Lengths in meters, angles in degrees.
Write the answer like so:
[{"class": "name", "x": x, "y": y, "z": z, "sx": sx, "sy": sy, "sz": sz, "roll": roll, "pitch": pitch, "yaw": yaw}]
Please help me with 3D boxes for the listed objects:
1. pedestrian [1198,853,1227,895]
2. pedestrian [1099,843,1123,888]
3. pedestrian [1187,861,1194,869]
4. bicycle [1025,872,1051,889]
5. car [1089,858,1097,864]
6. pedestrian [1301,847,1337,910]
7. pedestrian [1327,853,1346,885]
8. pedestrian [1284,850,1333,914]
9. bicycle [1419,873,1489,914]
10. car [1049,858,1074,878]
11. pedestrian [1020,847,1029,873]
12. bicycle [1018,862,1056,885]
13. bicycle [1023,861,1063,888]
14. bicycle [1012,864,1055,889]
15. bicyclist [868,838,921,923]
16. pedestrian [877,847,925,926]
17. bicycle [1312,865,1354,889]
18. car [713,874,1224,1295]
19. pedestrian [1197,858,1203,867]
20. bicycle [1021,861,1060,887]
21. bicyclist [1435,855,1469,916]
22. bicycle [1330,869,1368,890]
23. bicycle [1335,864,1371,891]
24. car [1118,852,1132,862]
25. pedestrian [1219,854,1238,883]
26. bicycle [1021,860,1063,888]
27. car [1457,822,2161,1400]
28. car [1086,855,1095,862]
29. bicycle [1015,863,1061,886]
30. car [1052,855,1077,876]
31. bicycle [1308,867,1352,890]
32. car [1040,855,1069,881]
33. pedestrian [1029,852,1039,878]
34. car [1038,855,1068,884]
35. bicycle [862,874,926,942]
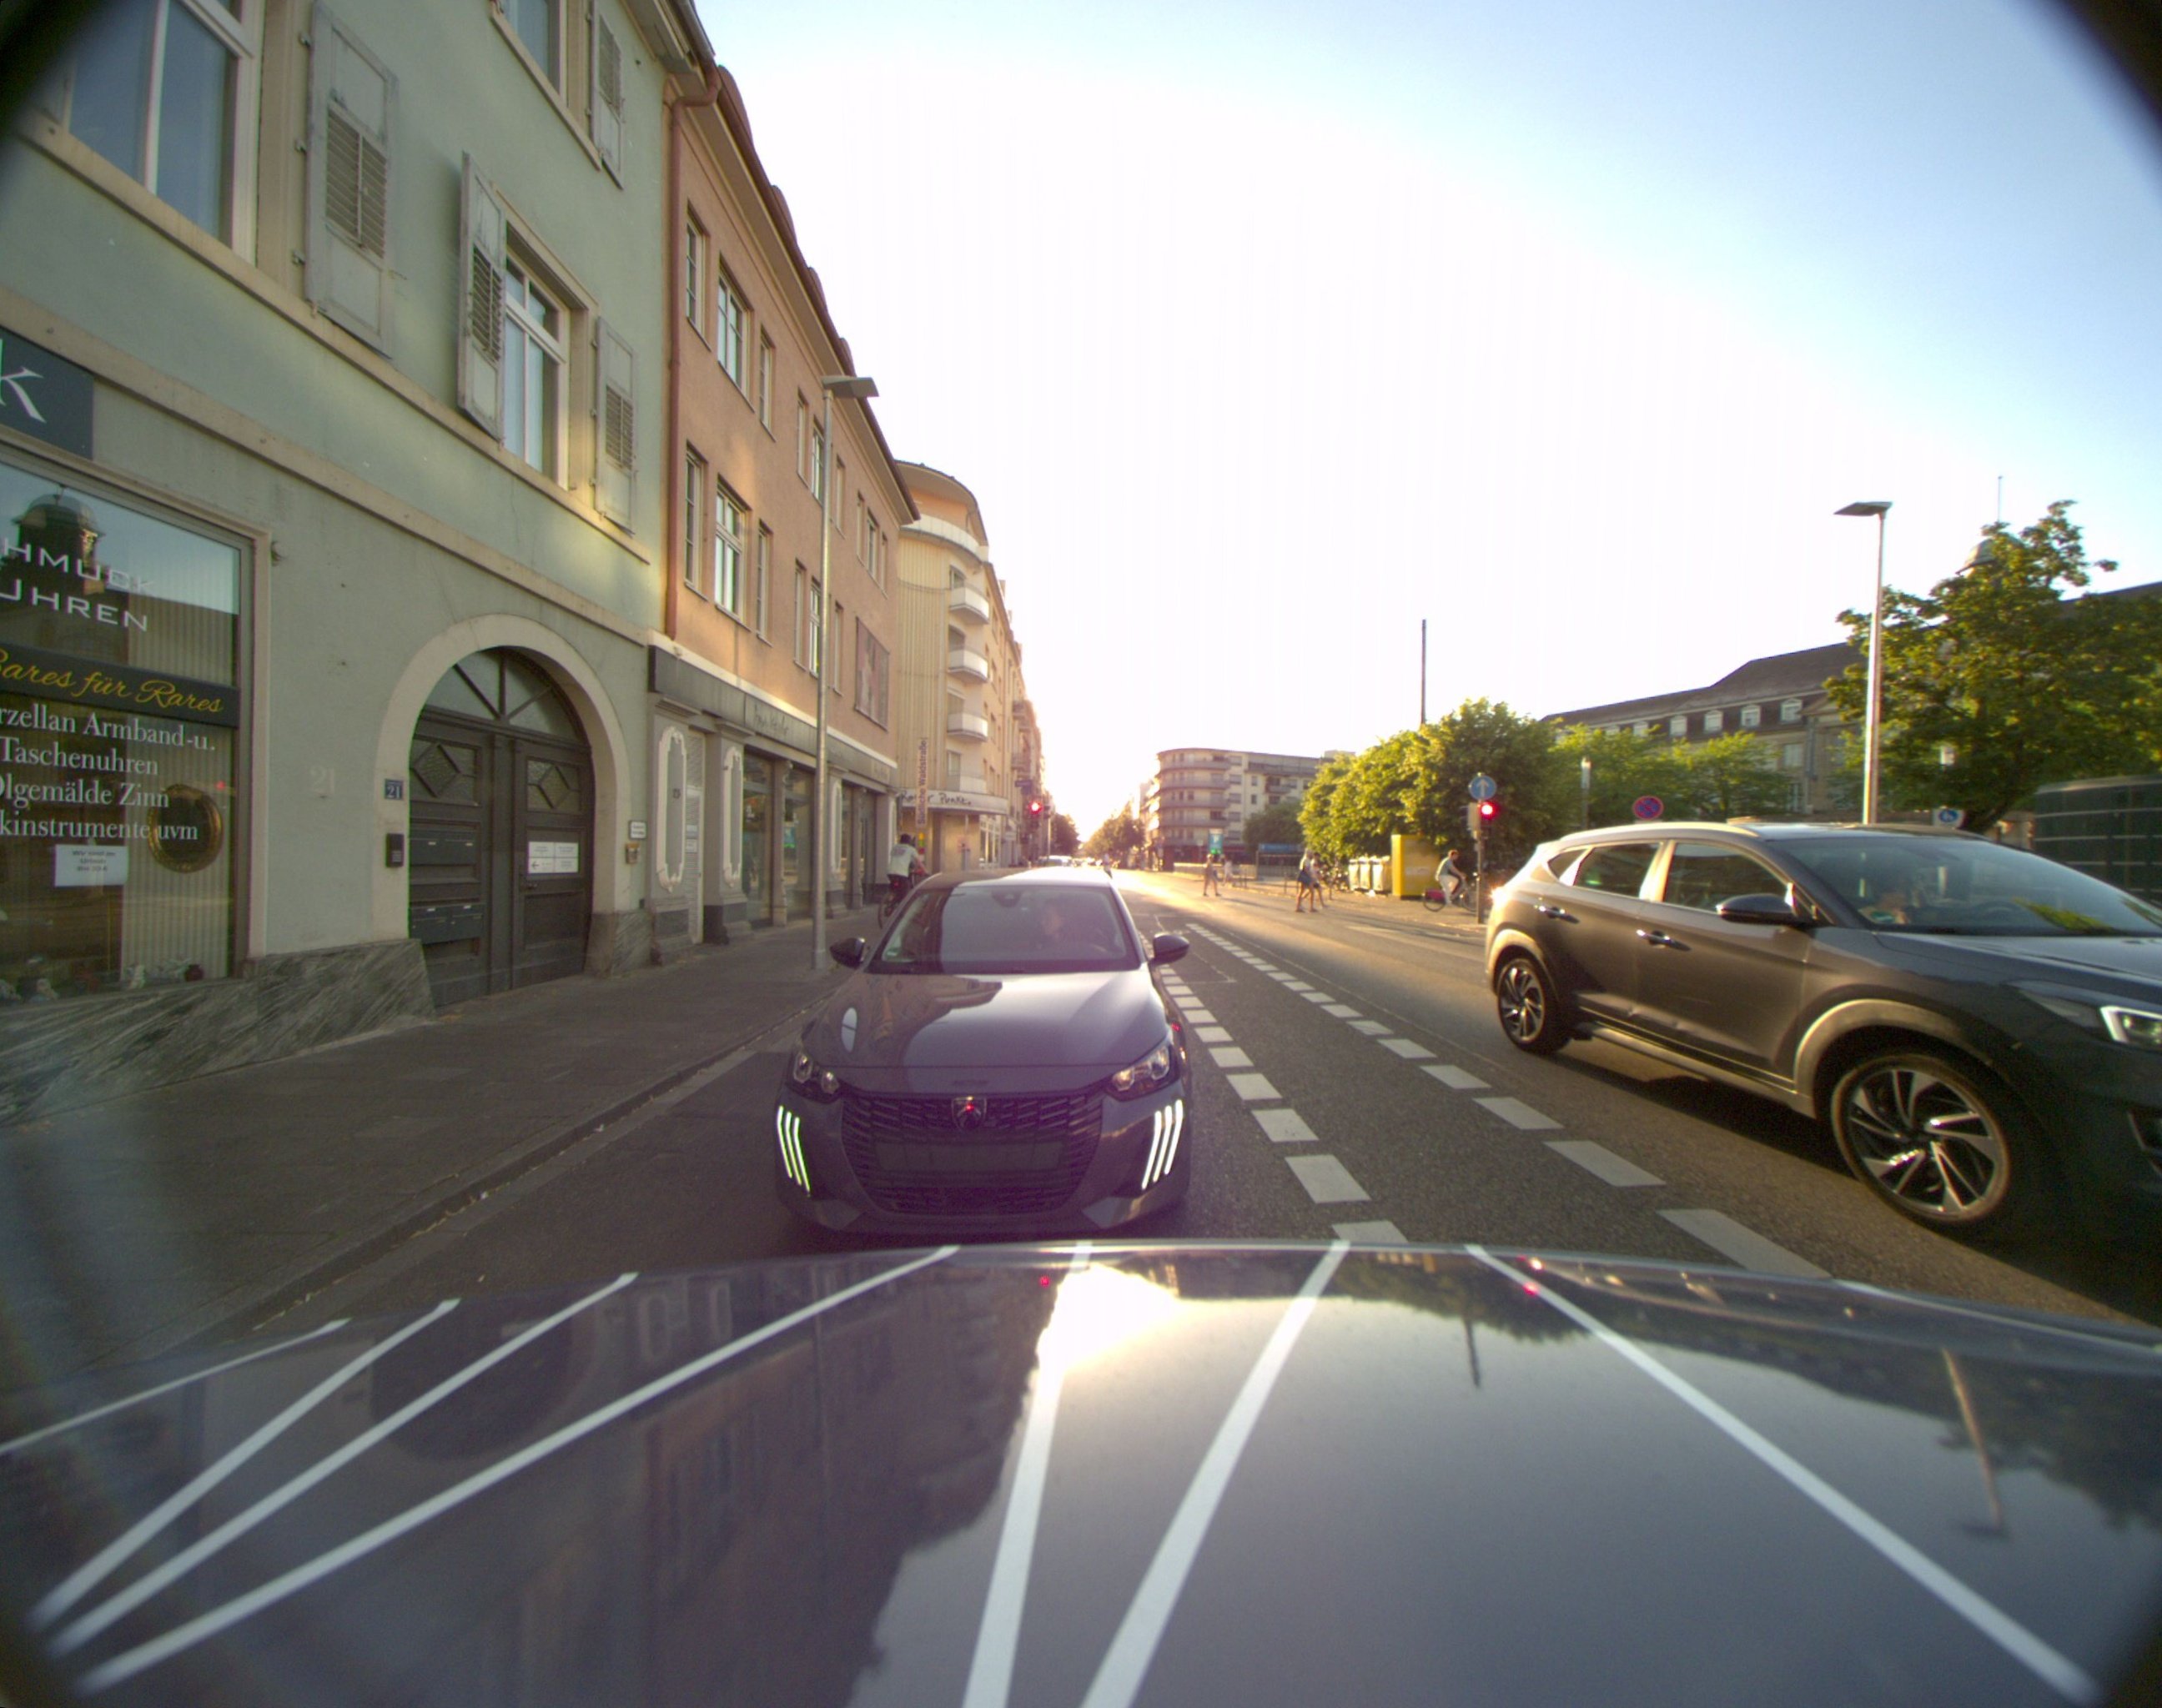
[{"class": "pedestrian", "x": 5.167, "y": 0.772, "z": 29.813, "sx": 0.789, "sy": 1.643, "sz": 0.782, "roll": 1, "pitch": 1, "yaw": 43}, {"class": "pedestrian", "x": 1.219, "y": 0.448, "z": 31.118, "sx": 0.871, "sy": 1.806, "sz": 0.826, "roll": 1, "pitch": 0, "yaw": -3}, {"class": "pedestrian", "x": 15.817, "y": 1.556, "z": 109.827, "sx": 0.887, "sy": 1.185, "sz": 0.733, "roll": 0, "pitch": 0, "yaw": 9}, {"class": "bicycle", "x": -1.887, "y": 1.164, "z": 33.361, "sx": 1.008, "sy": 0.677, "sz": 1.049, "roll": 1, "pitch": 0, "yaw": -9}, {"class": "car", "x": 2.907, "y": 1.743, "z": 184.535, "sx": 1.790, "sy": 1.458, "sz": 3.956, "roll": 2, "pitch": 0, "yaw": -1}, {"class": "pedestrian", "x": 7.413, "y": 0.747, "z": 23.672, "sx": 0.939, "sy": 1.886, "sz": 0.826, "roll": 1, "pitch": 0, "yaw": 9}, {"class": "pedestrian", "x": 14.633, "y": 0.871, "z": 43.529, "sx": 0.870, "sy": 1.806, "sz": 0.826, "roll": 1, "pitch": 0, "yaw": 9}, {"class": "pedestrian", "x": 6.388, "y": 0.768, "z": 21.349, "sx": 1.100, "sy": 1.764, "sz": 0.826, "roll": 1, "pitch": 0, "yaw": -1}, {"class": "bicycle", "x": 11.415, "y": 1.188, "z": 23.274, "sx": 1.820, "sy": 1.179, "sz": 0.795, "roll": 1, "pitch": 0, "yaw": 33}, {"class": "car", "x": -1.412, "y": 1.011, "z": 56.639, "sx": 1.738, "sy": 1.448, "sz": 4.610, "roll": 0, "pitch": 0, "yaw": 1}, {"class": "pedestrian", "x": -4.442, "y": 0.477, "z": 59.687, "sx": 0.673, "sy": 2.002, "sz": 0.851, "roll": 0, "pitch": 1, "yaw": 0}, {"class": "bicycle", "x": -2.220, "y": 0.994, "z": 38.439, "sx": 1.851, "sy": 1.117, "sz": 0.594, "roll": 2, "pitch": 1, "yaw": -11}, {"class": "bicycle", "x": -1.812, "y": 0.969, "z": 35.856, "sx": 1.788, "sy": 1.166, "sz": 0.622, "roll": 2, "pitch": 0, "yaw": -11}, {"class": "bicycle", "x": -2.141, "y": 0.999, "z": 34.171, "sx": 1.788, "sy": 1.057, "sz": 0.718, "roll": 2, "pitch": 0, "yaw": -11}, {"class": "bicyclist", "x": -3.379, "y": 0.465, "z": 13.845, "sx": 0.724, "sy": 1.499, "sz": 0.900, "roll": 1, "pitch": 0, "yaw": 1}, {"class": "pedestrian", "x": -3.806, "y": 0.669, "z": 16.151, "sx": 0.825, "sy": 1.632, "sz": 0.871, "roll": 1, "pitch": 0, "yaw": -2}, {"class": "bicycle", "x": 13.151, "y": 1.189, "z": 39.701, "sx": 2.031, "sy": 1.245, "sz": 0.548, "roll": -1, "pitch": 0, "yaw": -4}, {"class": "car", "x": -0.470, "y": 0.919, "z": 5.085, "sx": 1.908, "sy": 1.438, "sz": 4.448, "roll": 0, "pitch": 0, "yaw": -2}, {"class": "pedestrian", "x": 17.430, "y": 1.220, "z": 111.385, "sx": 0.732, "sy": 1.314, "sz": 0.889, "roll": 0, "pitch": 0, "yaw": -1}, {"class": "bicycle", "x": -1.947, "y": 0.957, "z": 36.488, "sx": 1.788, "sy": 1.166, "sz": 0.622, "roll": 2, "pitch": 0, "yaw": -11}, {"class": "bicyclist", "x": 11.374, "y": 0.948, "z": 23.289, "sx": 0.833, "sy": 1.815, "sz": 0.832, "roll": 1, "pitch": 0, "yaw": 34}, {"class": "bicycle", "x": 13.109, "y": 1.234, "z": 37.236, "sx": 1.678, "sy": 0.973, "sz": 0.548, "roll": -1, "pitch": 0, "yaw": -4}, {"class": "bicycle", "x": 13.194, "y": 1.129, "z": 36.845, "sx": 1.590, "sy": 1.245, "sz": 0.445, "roll": -1, "pitch": 0, "yaw": -2}, {"class": "car", "x": 7.820, "y": 0.548, "z": 135.626, "sx": 1.999, "sy": 1.805, "sz": 3.999, "roll": 1, "pitch": 1, "yaw": -2}, {"class": "pedestrian", "x": 9.095, "y": 0.889, "z": 46.889, "sx": 0.950, "sy": 1.806, "sz": 0.827, "roll": 1, "pitch": 0, "yaw": 25}, {"class": "bicycle", "x": -1.810, "y": 0.921, "z": 35.108, "sx": 1.849, "sy": 1.232, "sz": 0.639, "roll": 1, "pitch": 0, "yaw": -5}, {"class": "car", "x": 4.092, "y": 0.783, "z": 4.094, "sx": 1.877, "sy": 1.679, "sz": 4.449, "roll": 2, "pitch": 0, "yaw": 0}, {"class": "car", "x": 2.495, "y": 1.144, "z": 199.701, "sx": 1.878, "sy": 1.621, "sz": 4.177, "roll": 3, "pitch": -1, "yaw": -5}, {"class": "bicycle", "x": -2.127, "y": 1.005, "z": 37.440, "sx": 2.176, "sy": 1.069, "sz": 0.805, "roll": 2, "pitch": 0, "yaw": -7}, {"class": "car", "x": -1.304, "y": 0.909, "z": 62.225, "sx": 1.877, "sy": 1.664, "sz": 4.430, "roll": 0, "pitch": 0, "yaw": 0}, {"class": "bicycle", "x": 12.460, "y": 1.210, "z": 38.020, "sx": 2.031, "sy": 1.128, "sz": 0.548, "roll": -1, "pitch": 0, "yaw": -4}, {"class": "car", "x": -1.742, "y": 0.918, "z": 51.051, "sx": 1.821, "sy": 1.611, "sz": 4.203, "roll": 0, "pitch": 0, "yaw": 0}, {"class": "pedestrian", "x": -3.694, "y": 0.838, "z": 59.708, "sx": 0.763, "sy": 2.002, "sz": 0.851, "roll": 0, "pitch": 0, "yaw": 0}, {"class": "car", "x": -1.637, "y": 0.875, "z": 44.774, "sx": 1.702, "sy": 1.607, "sz": 4.682, "roll": 0, "pitch": 0, "yaw": -2}, {"class": "bicycle", "x": -3.378, "y": 0.937, "z": 13.877, "sx": 0.692, "sy": 1.100, "sz": 1.896, "roll": 1, "pitch": 0, "yaw": 0}]
